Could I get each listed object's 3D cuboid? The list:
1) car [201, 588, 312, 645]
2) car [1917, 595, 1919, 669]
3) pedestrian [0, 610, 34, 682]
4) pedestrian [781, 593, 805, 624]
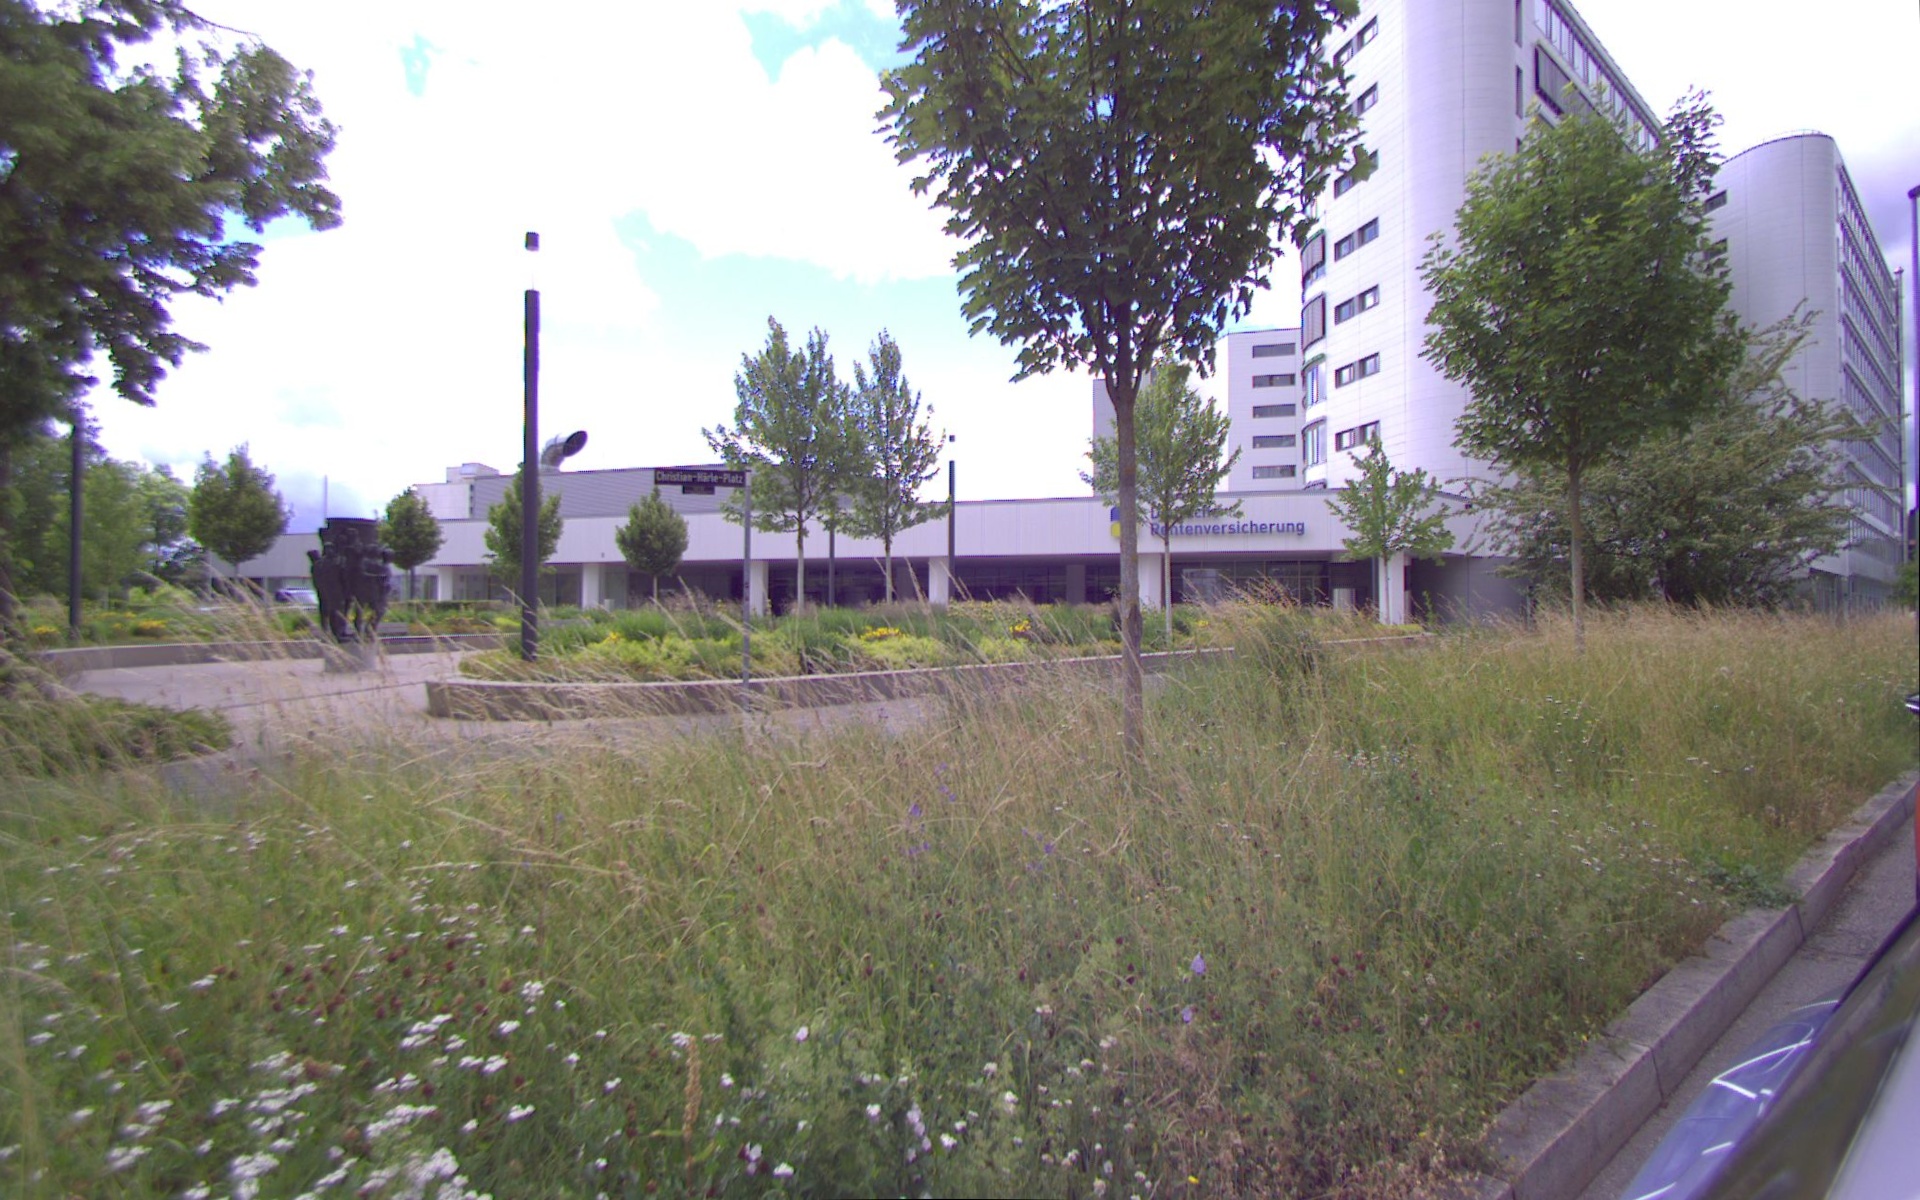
[{"bbox_3d":[-23.366,0.517,33.606,3.470,1.788,1.622,0,0,27],"label":"car"},{"bbox_3d":[22.623,0.709,22.465,3.386,1.594,1.736,0,0,-42],"label":"car"},{"bbox_3d":[-17.453,0.838,18.663,0.560,1.278,0.581,0,0,-43],"label":"pedestrian"},{"bbox_3d":[-7.038,0.358,42.772,0.869,1.290,0.704,1,0,2],"label":"pedestrian"}]
